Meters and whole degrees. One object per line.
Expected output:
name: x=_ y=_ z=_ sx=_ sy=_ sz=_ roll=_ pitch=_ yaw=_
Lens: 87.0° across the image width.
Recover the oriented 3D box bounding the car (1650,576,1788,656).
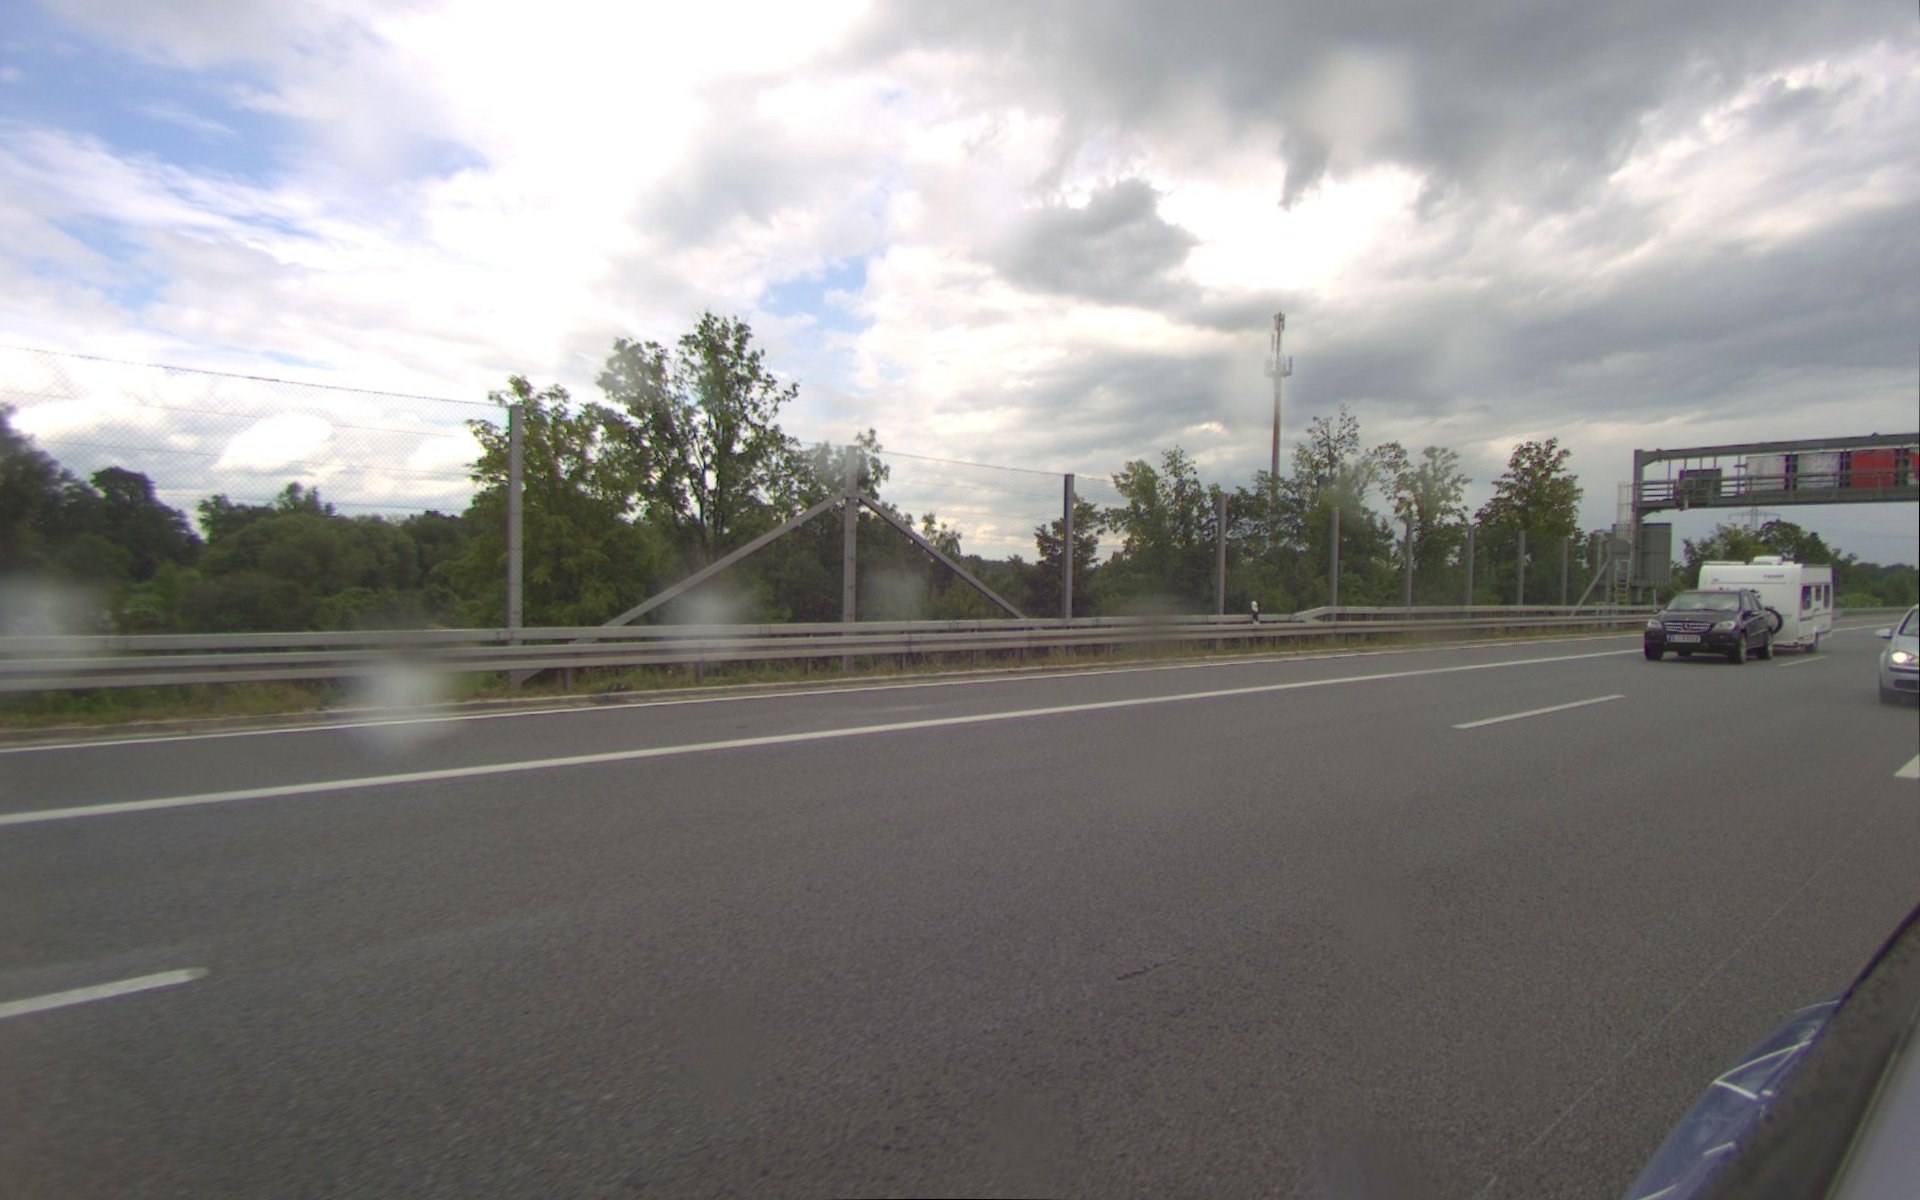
car: x=18.678 y=0.348 z=24.828 sx=4.425 sy=1.798 sz=1.923 roll=0 pitch=0 yaw=-42

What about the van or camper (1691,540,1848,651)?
van or camper: x=23.014 y=-0.122 z=28.641 sx=7.085 sy=2.773 sz=2.387 roll=0 pitch=0 yaw=-42

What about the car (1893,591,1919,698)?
car: x=14.919 y=0.609 z=14.701 sx=3.932 sy=1.464 sz=1.681 roll=0 pitch=0 yaw=-42
